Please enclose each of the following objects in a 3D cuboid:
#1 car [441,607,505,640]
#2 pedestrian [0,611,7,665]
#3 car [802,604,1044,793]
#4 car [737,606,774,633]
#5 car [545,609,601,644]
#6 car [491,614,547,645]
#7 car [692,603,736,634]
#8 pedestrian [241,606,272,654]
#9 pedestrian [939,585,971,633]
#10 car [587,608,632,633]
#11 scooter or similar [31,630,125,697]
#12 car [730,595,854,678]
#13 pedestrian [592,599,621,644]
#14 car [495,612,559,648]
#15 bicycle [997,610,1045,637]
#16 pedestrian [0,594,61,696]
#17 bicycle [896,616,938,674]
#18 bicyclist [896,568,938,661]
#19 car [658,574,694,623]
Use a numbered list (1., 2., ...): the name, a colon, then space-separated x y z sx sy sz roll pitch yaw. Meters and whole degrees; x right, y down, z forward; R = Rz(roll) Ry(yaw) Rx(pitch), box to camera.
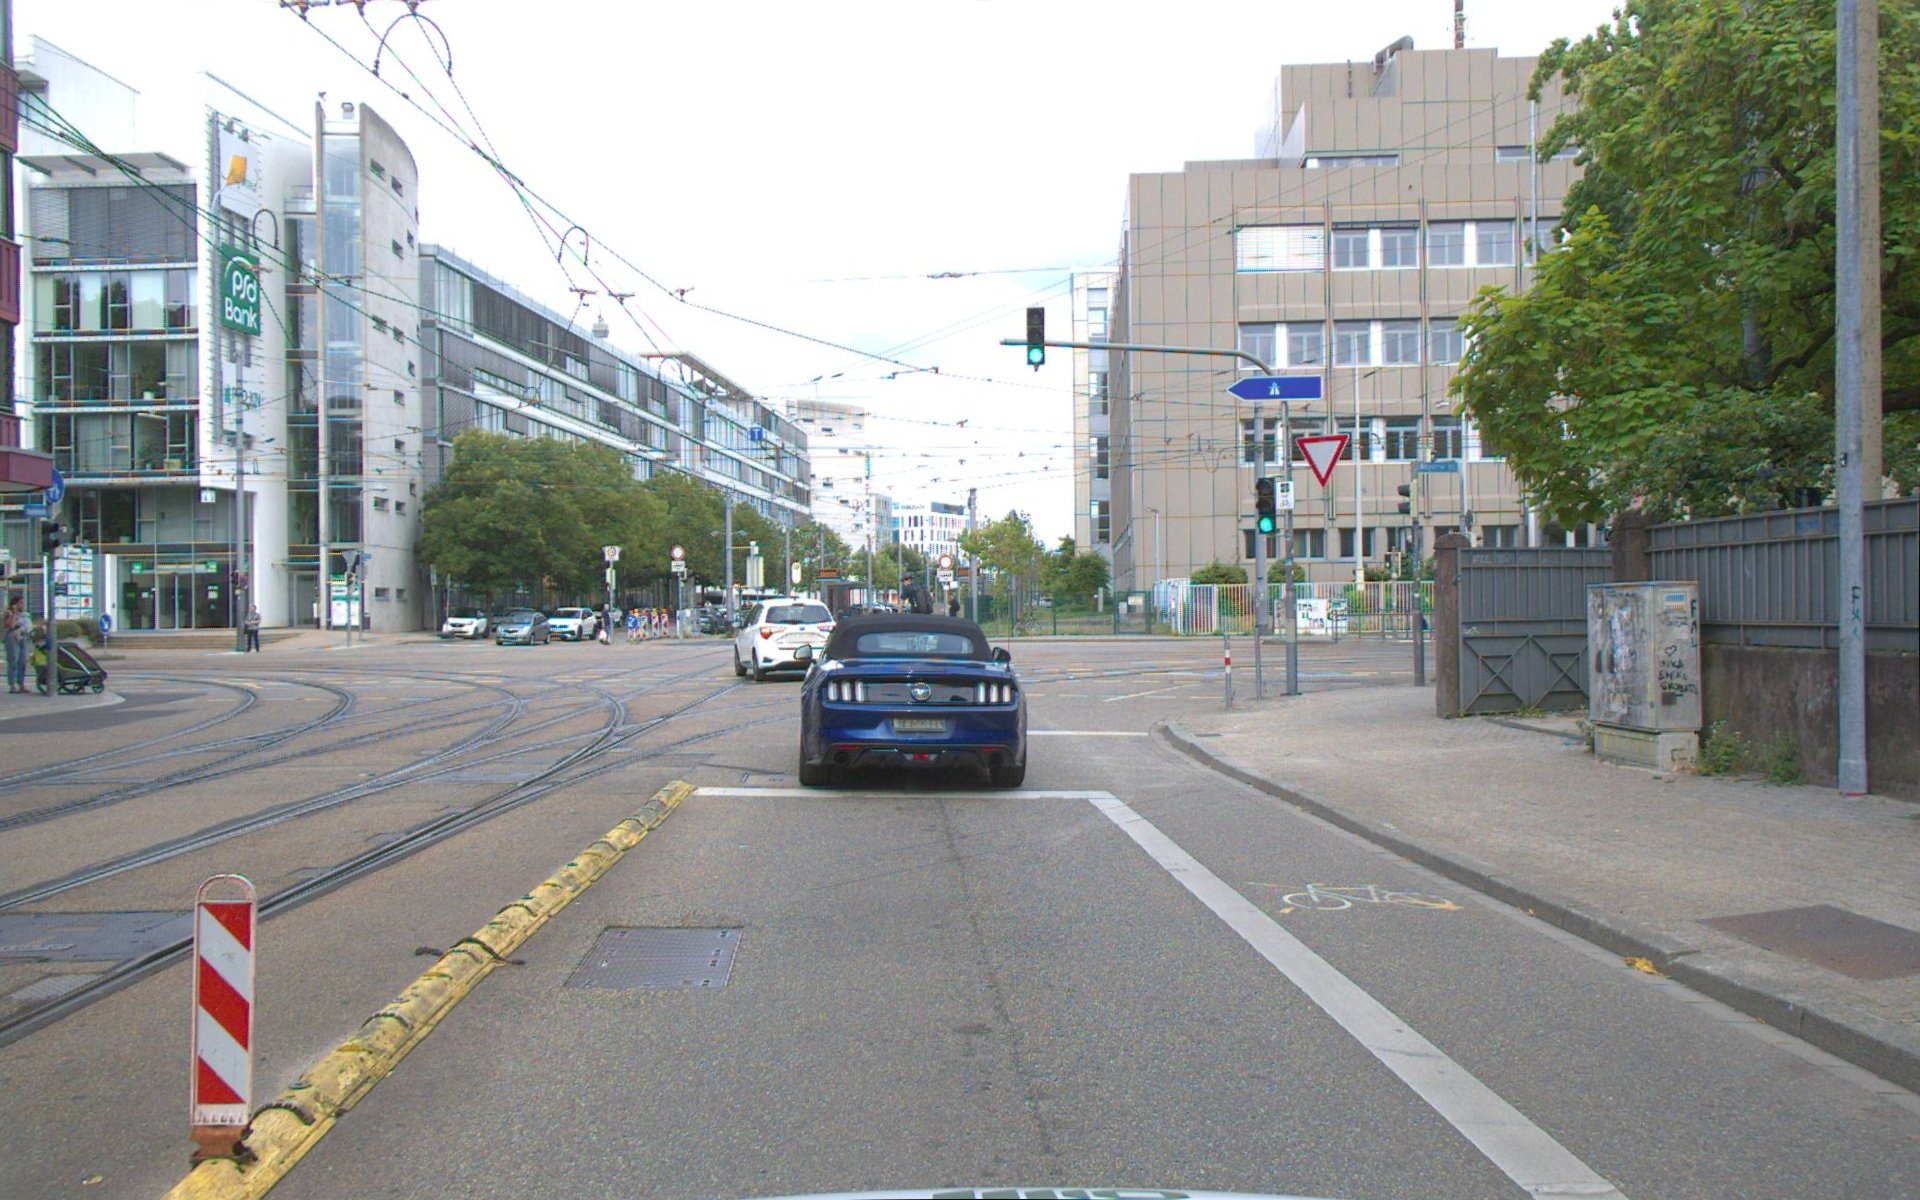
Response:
1. car: -24.946 1.180 84.847 1.791 1.584 4.218 1 0 3
2. pedestrian: -30.696 1.209 52.066 0.915 1.700 0.766 -1 0 11
3. car: -0.469 0.756 14.745 1.839 1.428 4.277 0 0 -5
4. car: -12.968 1.234 104.971 1.830 1.634 4.212 -1 0 -1
5. car: -19.700 1.312 84.334 1.679 1.689 4.134 1 0 3
6. car: -24.513 1.622 92.082 1.791 1.584 4.218 1 0 3
7. car: -13.566 1.020 91.301 1.841 1.657 4.086 -1 0 -1
8. pedestrian: -28.098 1.181 66.041 0.816 1.897 0.766 -1 0 11
9. pedestrian: -0.209 0.357 67.586 1.063 1.931 0.902 -1 0 17
10. car: -23.358 1.371 110.353 1.945 1.584 4.512 1 0 0
11. scooter or similar: -15.633 1.110 29.333 1.172 1.148 0.946 0 0 -4
12. car: -3.325 0.674 32.098 1.804 1.464 4.171 -1 0 -14
13. pedestrian: -15.167 0.918 70.986 0.968 1.888 0.902 -1 0 2
14. car: -20.164 1.375 77.121 1.633 1.533 4.236 1 0 3
15. bicycle: 2.484 0.966 67.316 0.629 0.998 2.125 -1 -3 -42
16. pedestrian: -16.574 0.784 29.241 0.929 1.774 0.811 -1 0 -5
17. bicycle: -0.881 0.886 33.249 0.784 1.105 2.130 -1 0 -3
18. bicyclist: -0.878 0.279 33.211 0.780 1.817 1.232 -1 0 -3
19. car: -22.199 -0.093 129.405 1.945 3.700 4.512 1 0 0
